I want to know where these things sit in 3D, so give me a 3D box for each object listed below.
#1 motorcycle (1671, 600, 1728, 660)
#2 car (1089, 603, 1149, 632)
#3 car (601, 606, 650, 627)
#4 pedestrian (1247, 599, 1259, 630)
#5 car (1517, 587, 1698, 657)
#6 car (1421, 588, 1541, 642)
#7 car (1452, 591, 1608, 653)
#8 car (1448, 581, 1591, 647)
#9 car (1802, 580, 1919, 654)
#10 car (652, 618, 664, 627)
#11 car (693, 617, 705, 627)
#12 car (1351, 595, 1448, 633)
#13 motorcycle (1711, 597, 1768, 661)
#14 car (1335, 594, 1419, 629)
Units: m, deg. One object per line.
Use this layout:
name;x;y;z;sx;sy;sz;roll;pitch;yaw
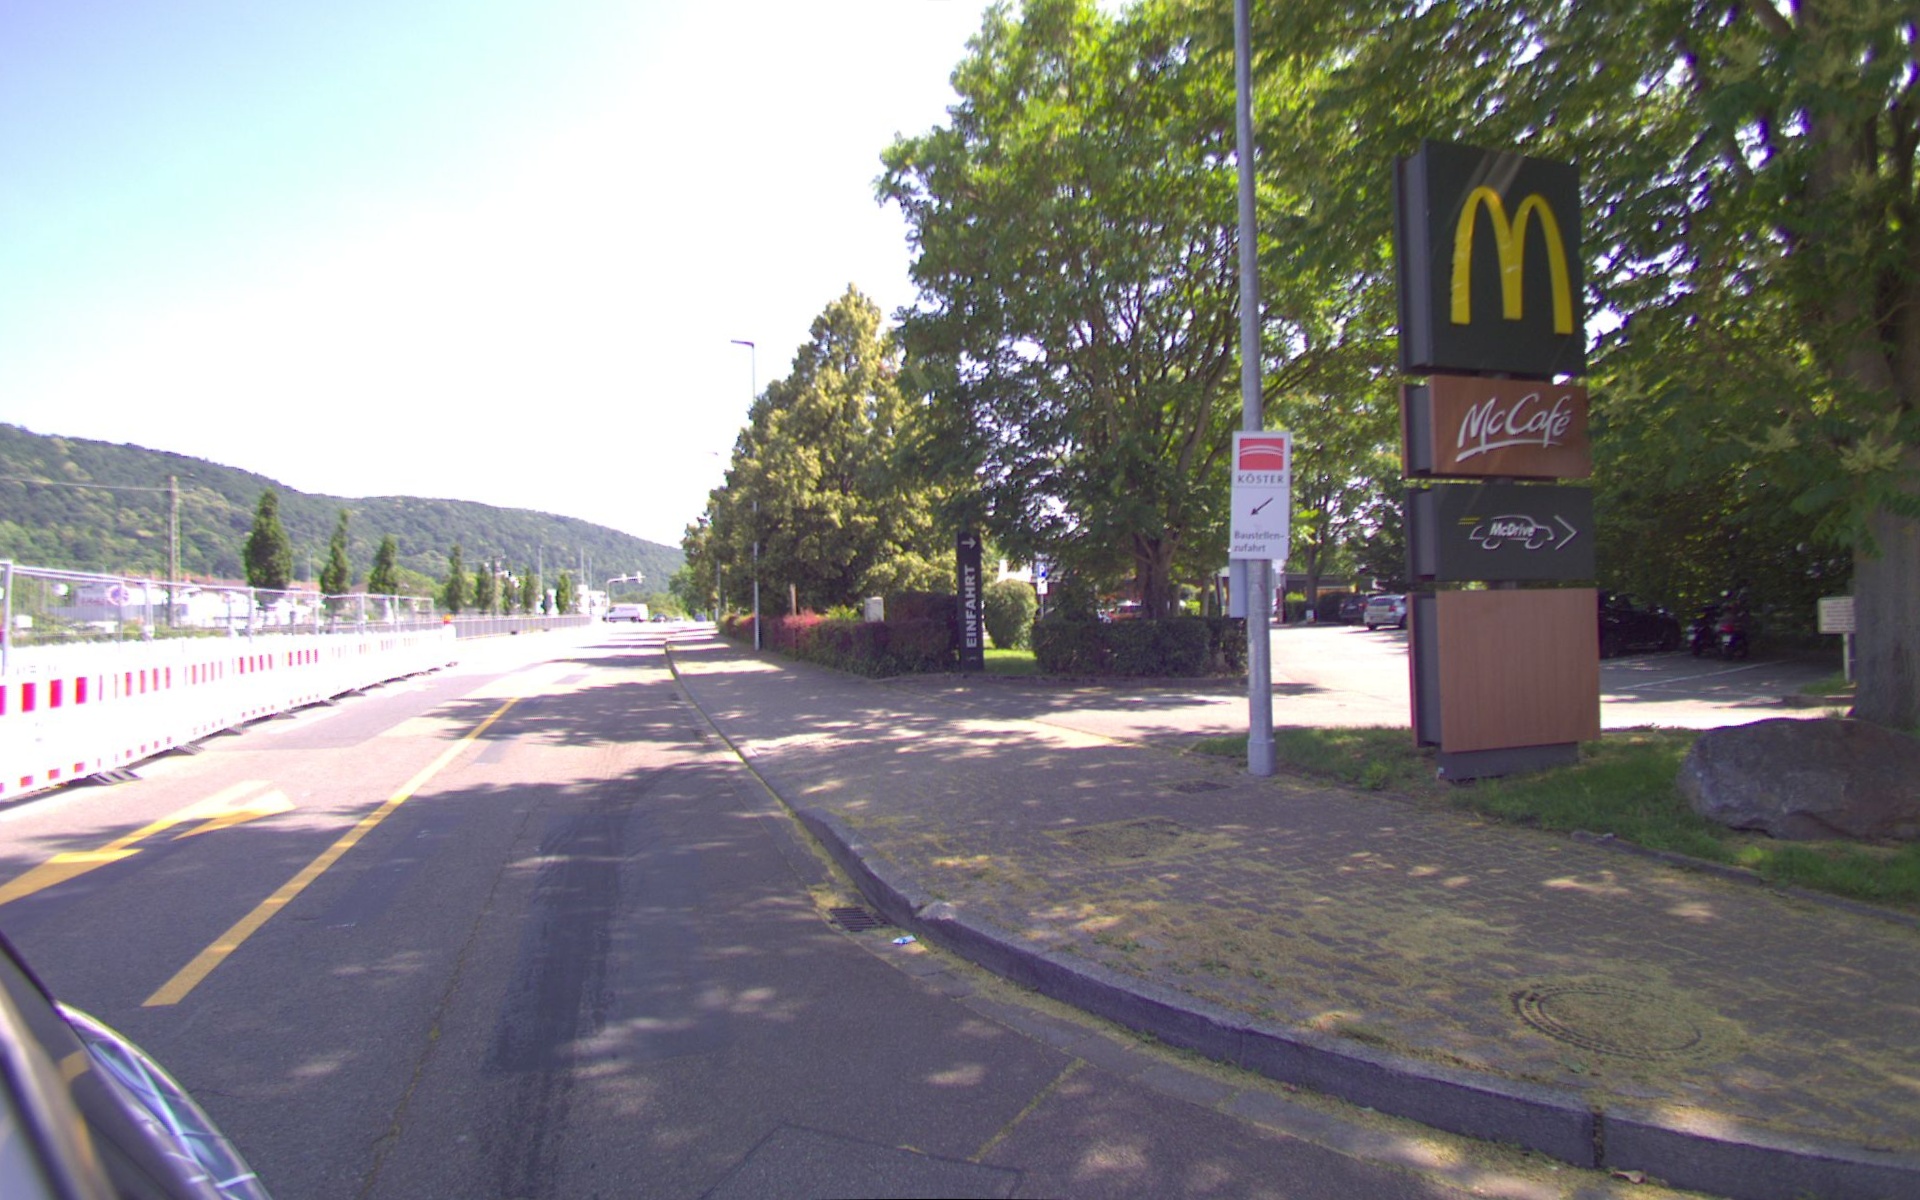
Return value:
motorcycle;15.143;0.593;20.702;2.151;1.124;0.570;-2;0;-45
car;9.765;1.084;62.377;1.640;1.644;3.736;-2;0;-29
car;-43.595;2.178;131.862;5.570;2.362;2.304;-3;1;13
pedestrian;14.366;0.704;49.614;0.510;1.491;0.534;-2;-1;12
car;14.870;0.472;23.210;4.025;1.398;1.775;-2;0;-29
car;16.978;0.464;32.955;3.784;1.599;1.648;-2;0;-31
car;14.747;0.546;26.141;4.002;1.406;1.632;-2;0;-29
car;16.462;0.379;29.752;3.955;1.745;1.807;-2;0;-29
car;19.299;0.304;20.168;1.694;1.414;4.376;-3;-2;7
car;-42.982;3.219;144.303;1.583;1.265;3.693;-1;-1;-16
car;-39.476;3.325;152.897;1.583;1.547;3.693;-1;-1;-16
car;18.879;0.573;43.422;3.978;1.461;1.800;-2;0;-31
motorcycle;15.251;0.550;19.775;2.151;1.140;0.570;-2;0;-45
car;20.745;0.578;50.324;3.803;1.588;1.825;-2;0;-29
